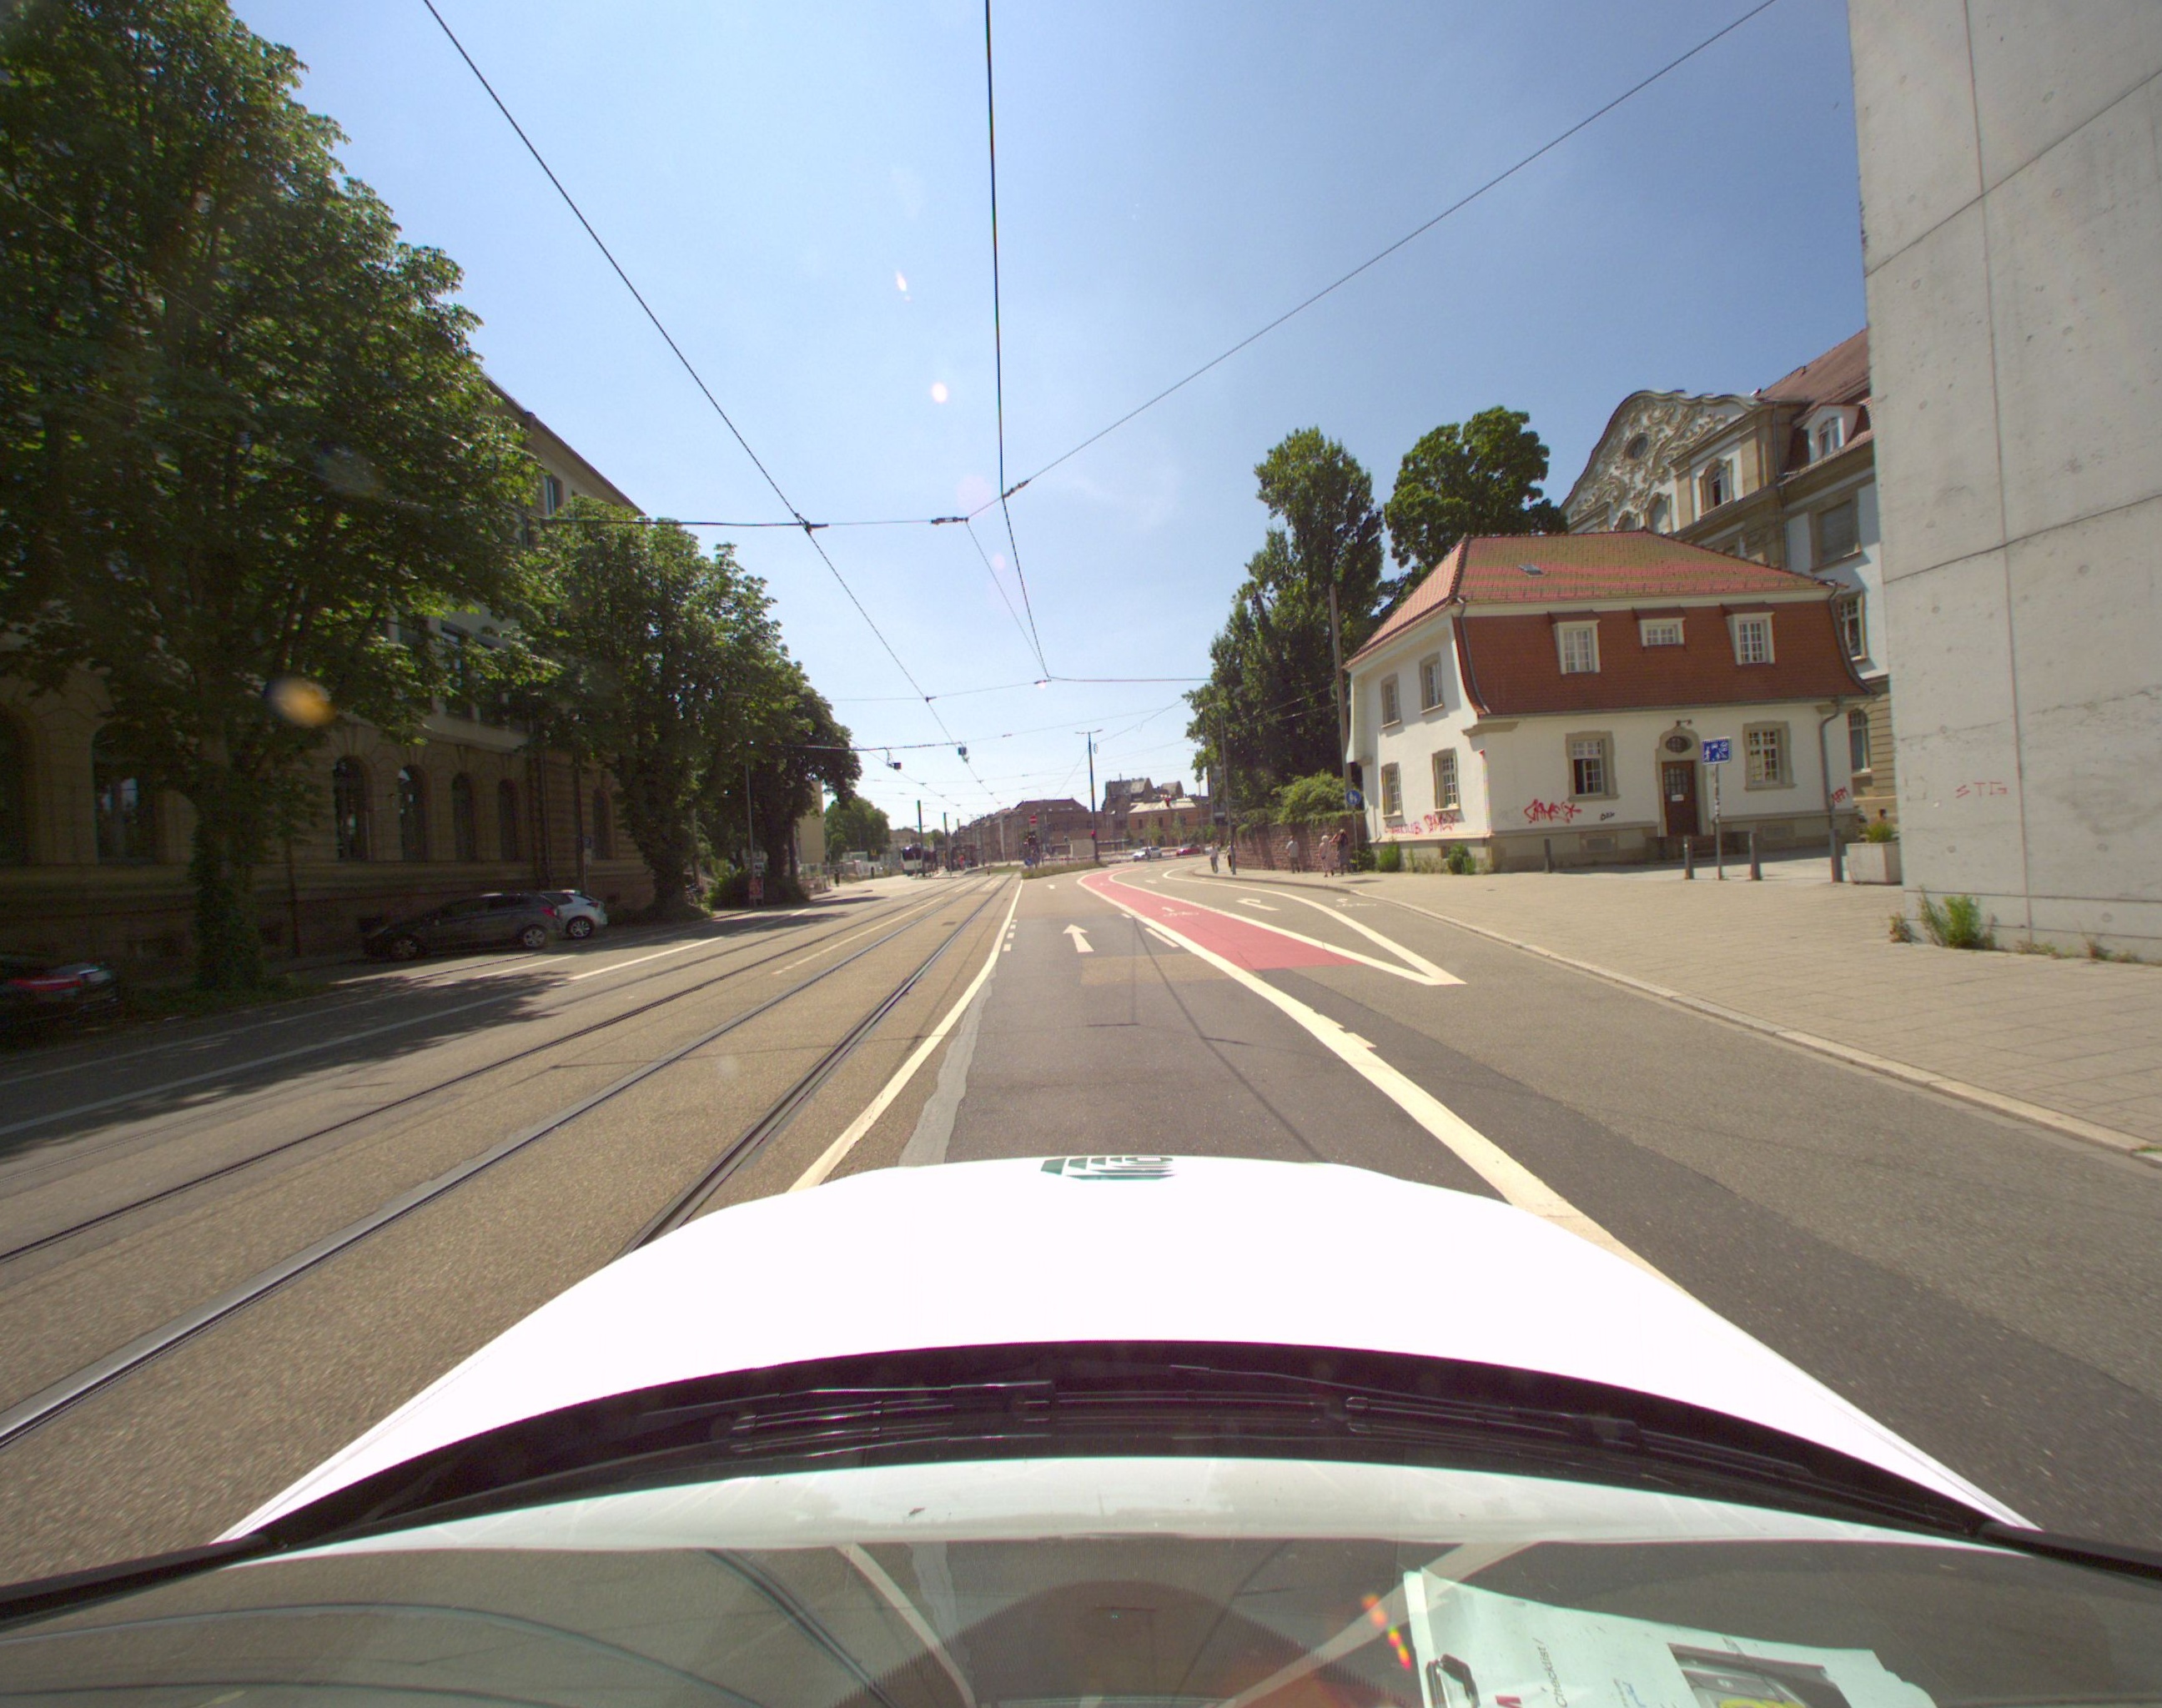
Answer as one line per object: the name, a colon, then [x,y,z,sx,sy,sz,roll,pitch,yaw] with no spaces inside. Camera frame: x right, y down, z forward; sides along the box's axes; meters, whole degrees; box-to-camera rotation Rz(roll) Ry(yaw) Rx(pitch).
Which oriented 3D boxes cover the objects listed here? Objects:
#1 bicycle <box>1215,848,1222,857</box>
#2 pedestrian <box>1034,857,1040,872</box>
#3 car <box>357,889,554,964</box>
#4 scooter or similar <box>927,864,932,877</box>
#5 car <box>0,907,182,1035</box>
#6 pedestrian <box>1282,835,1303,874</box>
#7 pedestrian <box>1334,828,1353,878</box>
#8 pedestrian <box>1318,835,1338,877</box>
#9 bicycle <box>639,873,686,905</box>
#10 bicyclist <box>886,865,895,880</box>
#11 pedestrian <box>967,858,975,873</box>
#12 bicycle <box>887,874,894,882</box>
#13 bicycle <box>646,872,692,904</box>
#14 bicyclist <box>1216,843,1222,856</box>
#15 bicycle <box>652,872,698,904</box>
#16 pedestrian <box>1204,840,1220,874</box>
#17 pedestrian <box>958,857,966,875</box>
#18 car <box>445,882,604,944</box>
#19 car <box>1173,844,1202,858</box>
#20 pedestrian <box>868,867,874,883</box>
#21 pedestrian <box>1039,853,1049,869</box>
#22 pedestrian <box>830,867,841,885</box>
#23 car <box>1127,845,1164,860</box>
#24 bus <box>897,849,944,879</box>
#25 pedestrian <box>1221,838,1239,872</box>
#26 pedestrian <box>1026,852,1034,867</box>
bicycle: [18.937,-0.142,111.931,0.394,1.174,1.780,-4,-3,24]
pedestrian: [-5.153,1.223,94.792,0.527,1.675,0.749,-3,-1,-11]
car: [-15.336,1.713,20.231,3.690,1.520,1.652,-2,-1,-32]
scooter or similar: [-14.111,1.497,75.664,0.318,1.206,1.245,-4,0,-8]
car: [-13.996,1.521,9.752,3.946,1.374,1.653,-4,0,-30]
pedestrian: [9.322,0.026,35.931,0.658,1.647,0.624,-4,0,1]
pedestrian: [9.876,-0.026,30.617,0.622,1.774,0.721,0,-7,19]
pedestrian: [9.261,0.073,30.557,0.513,1.532,0.598,-4,0,1]
bicycle: [-23.570,1.970,45.910,2.312,1.692,0.552,-3,-1,2]
bicyclist: [-22.546,2.135,96.215,0.819,1.709,0.769,-3,0,-5]
pedestrian: [-15.982,1.632,118.118,0.896,2.096,0.832,-4,0,1]
bicycle: [-22.519,2.800,96.210,0.502,0.914,2.366,-1,0,-5]
bicycle: [-23.527,1.957,46.519,2.312,1.692,0.552,-3,-1,2]
bicyclist: [18.989,-0.566,112.067,0.561,1.719,0.510,-4,-3,37]
bicycle: [-23.500,1.969,47.139,2.312,1.692,0.552,-3,-1,2]
pedestrian: [7.291,0.160,45.364,0.675,1.808,0.748,-4,0,0]
pedestrian: [-12.905,1.289,88.394,0.673,1.909,0.637,-4,0,-13]
car: [-15.581,1.609,23.023,3.562,1.406,1.685,-3,-1,-32]
car: [12.710,-0.389,97.287,1.714,1.424,4.150,-4,0,33]
pedestrian: [-23.840,2.404,92.604,0.566,1.705,0.396,-3,0,-11]
pedestrian: [-4.486,0.882,98.065,0.771,1.864,0.721,-2,-2,-44]
pedestrian: [-22.656,2.012,75.213,0.602,1.602,0.827,-3,0,6]
car: [7.014,-0.173,88.001,1.974,1.438,4.735,-4,-1,30]
bus: [-19.389,1.122,99.625,3.003,3.157,17.479,-3,0,-3]
pedestrian: [8.327,0.054,45.501,0.811,1.808,0.700,-4,0,0]
pedestrian: [-5.953,0.676,94.327,0.728,1.707,0.740,-3,-1,-15]
